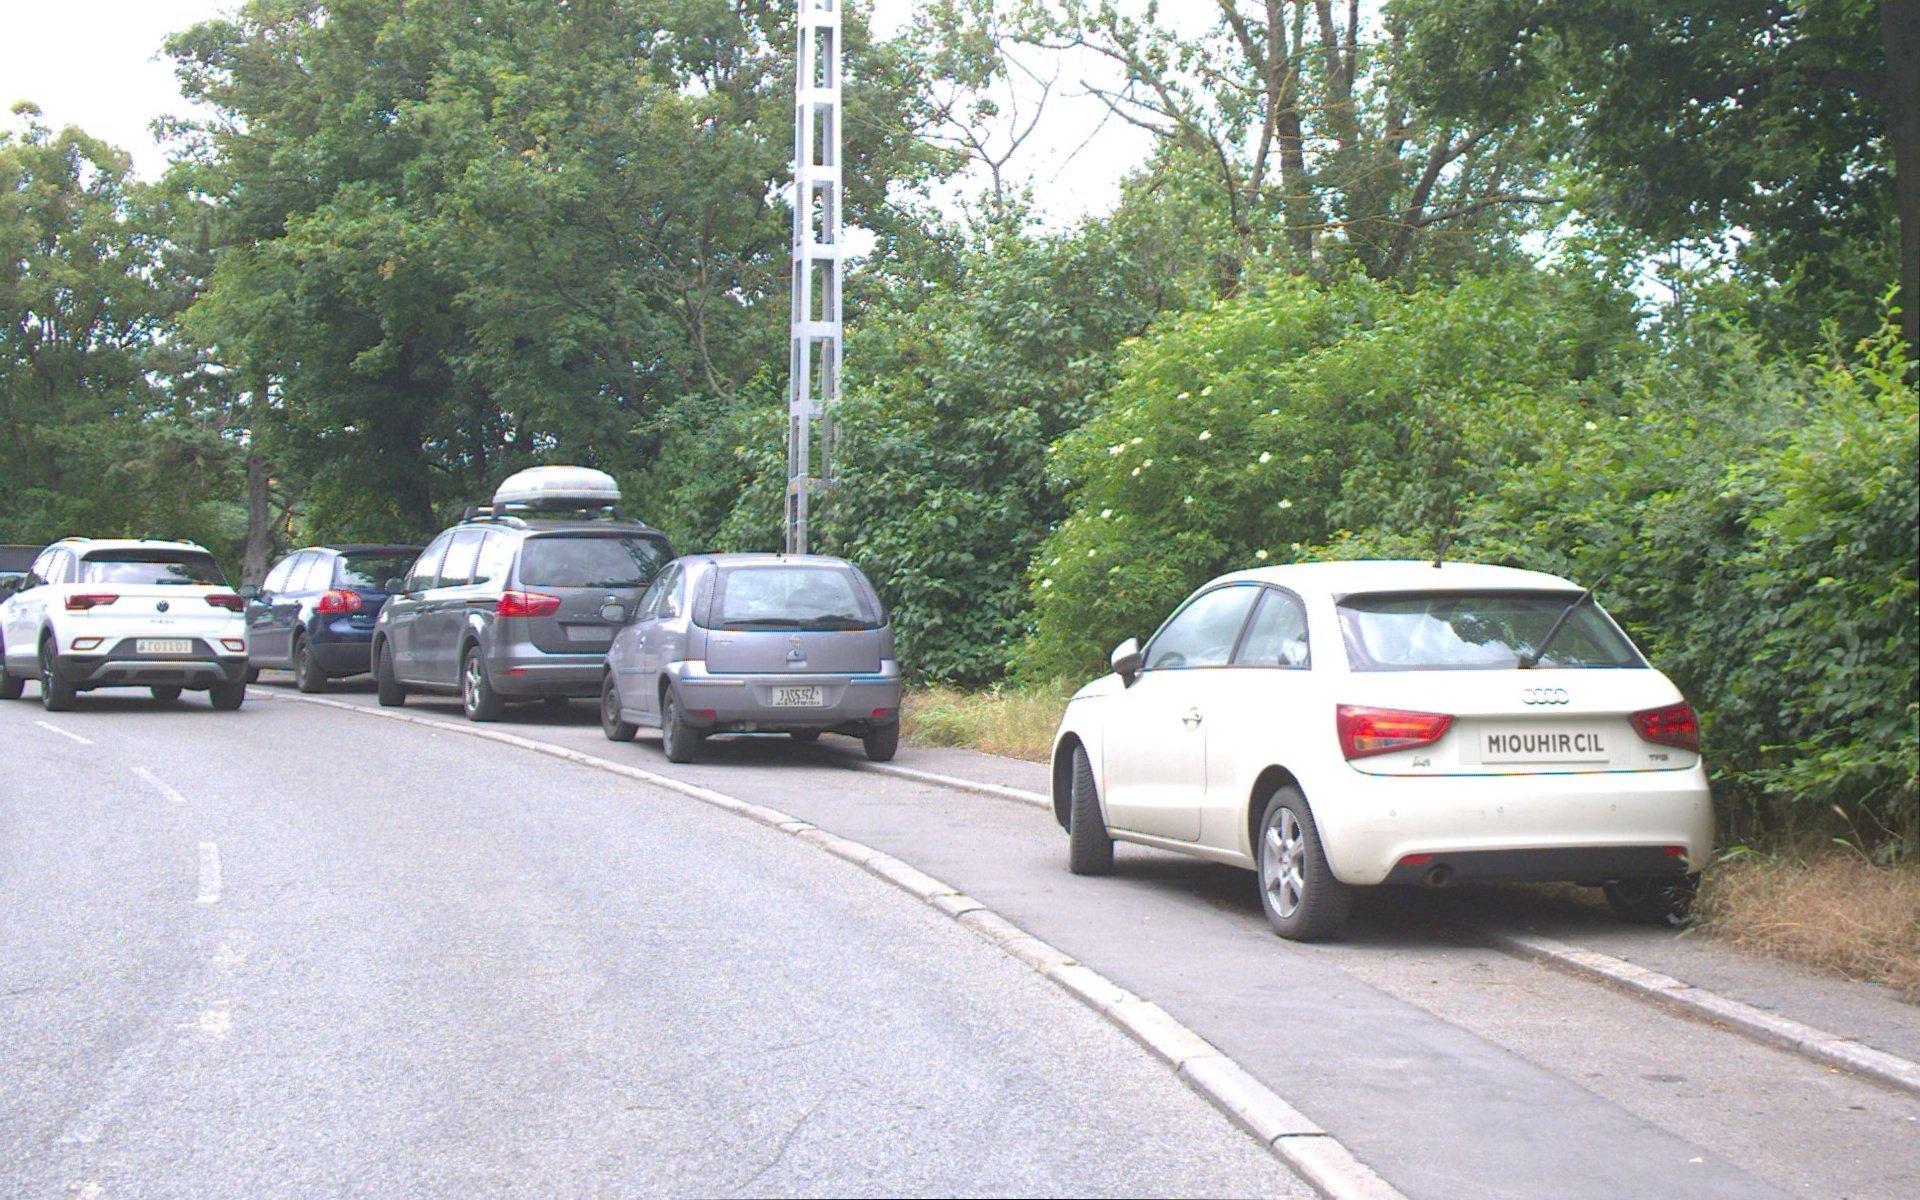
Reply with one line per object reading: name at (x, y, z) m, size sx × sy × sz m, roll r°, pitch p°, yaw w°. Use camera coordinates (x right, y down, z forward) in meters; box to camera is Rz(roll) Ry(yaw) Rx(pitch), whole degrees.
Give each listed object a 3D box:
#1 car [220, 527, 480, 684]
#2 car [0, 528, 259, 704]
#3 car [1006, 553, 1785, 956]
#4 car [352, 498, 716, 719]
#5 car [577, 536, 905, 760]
car at (-6.379, 0.020, 35.629) m, size 1.659 × 1.482 × 4.036 m, roll 2°, pitch 1°, yaw -24°
car at (-7.926, 0.099, 32.253) m, size 1.866 × 1.531 × 3.804 m, roll 0°, pitch 1°, yaw -24°
car at (1.654, 0.526, 14.533) m, size 1.776 × 1.413 × 4.001 m, roll -1°, pitch 1°, yaw -17°
car at (-3.839, 0.024, 30.232) m, size 1.798 × 1.766 × 4.608 m, roll 2°, pitch 1°, yaw -25°
car at (-1.678, 0.298, 24.996) m, size 1.640 × 1.459 × 4.001 m, roll 2°, pitch 0°, yaw -14°
